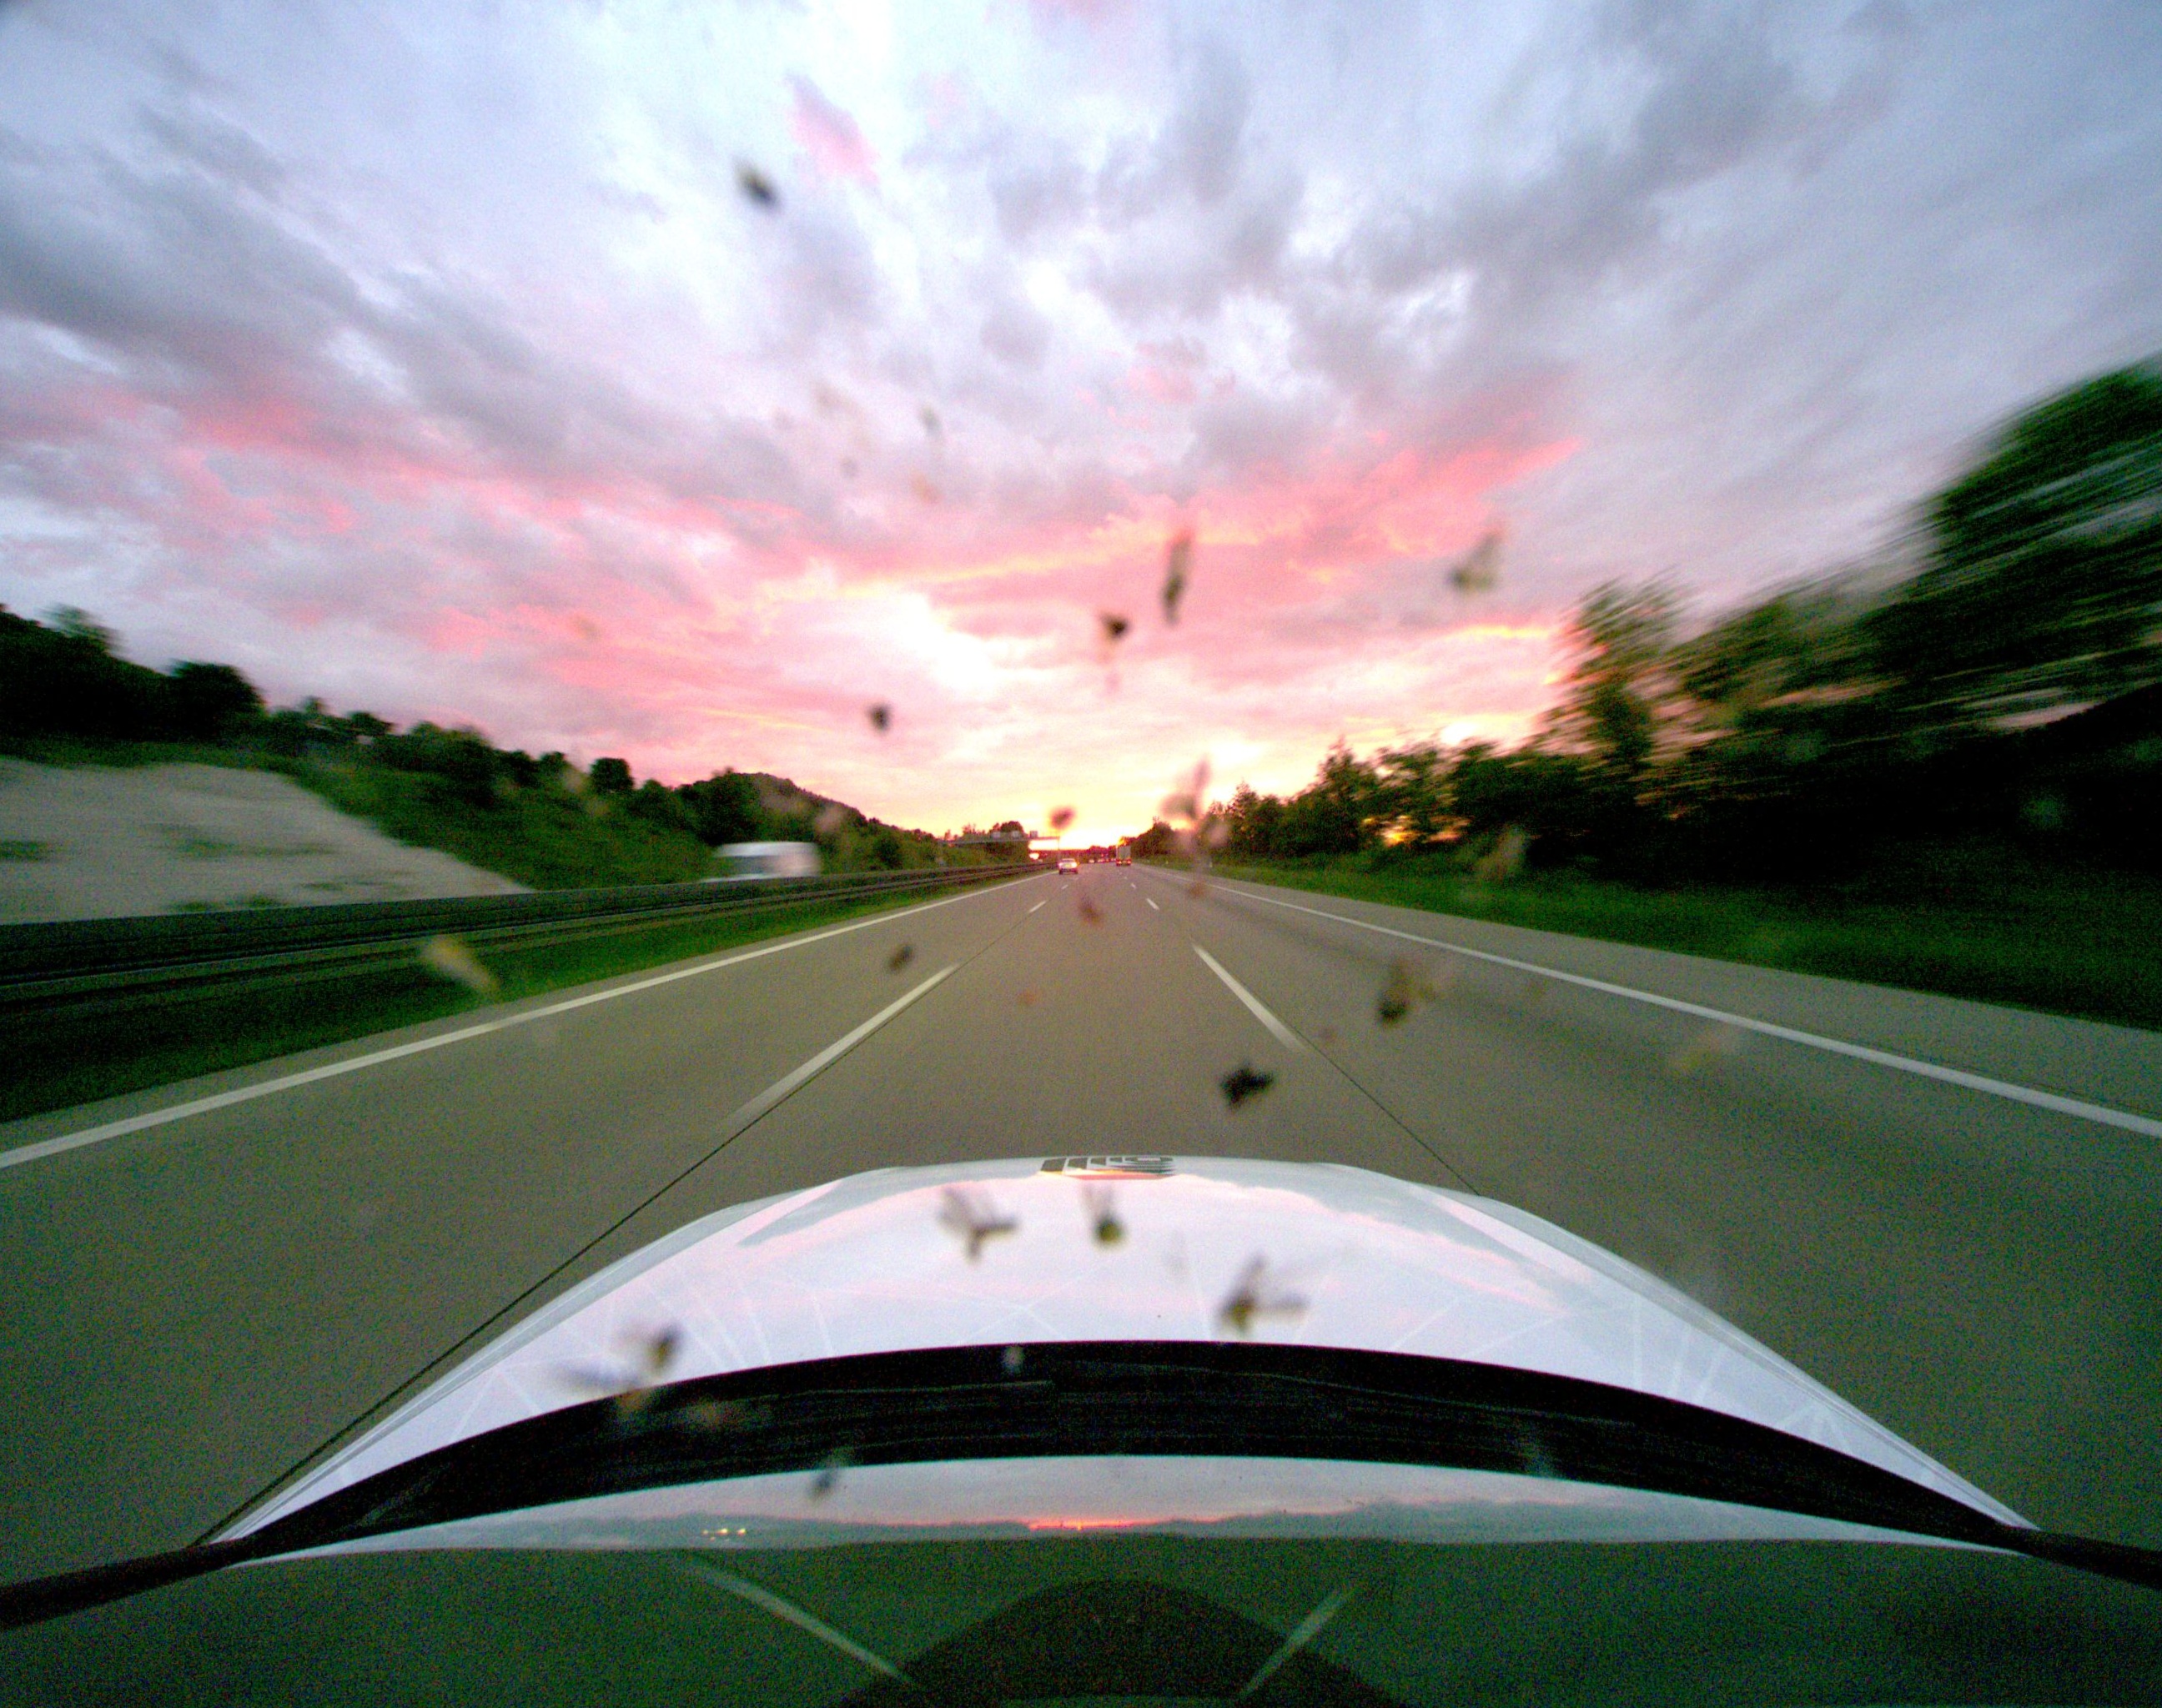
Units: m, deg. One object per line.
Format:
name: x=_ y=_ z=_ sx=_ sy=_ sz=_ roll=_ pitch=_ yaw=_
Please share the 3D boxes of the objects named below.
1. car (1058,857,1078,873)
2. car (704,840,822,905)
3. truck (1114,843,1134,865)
car: x=-1.282 y=1.082 z=81.483 sx=1.783 sy=1.501 sz=5.039 roll=-1 pitch=0 yaw=1
car: x=-12.546 y=0.677 z=32.744 sx=1.986 sy=2.287 sz=6.342 roll=-2 pitch=0 yaw=2
truck: x=8.248 y=0.010 z=157.348 sx=3.233 sy=4.127 sz=9.787 roll=-2 pitch=0 yaw=1
